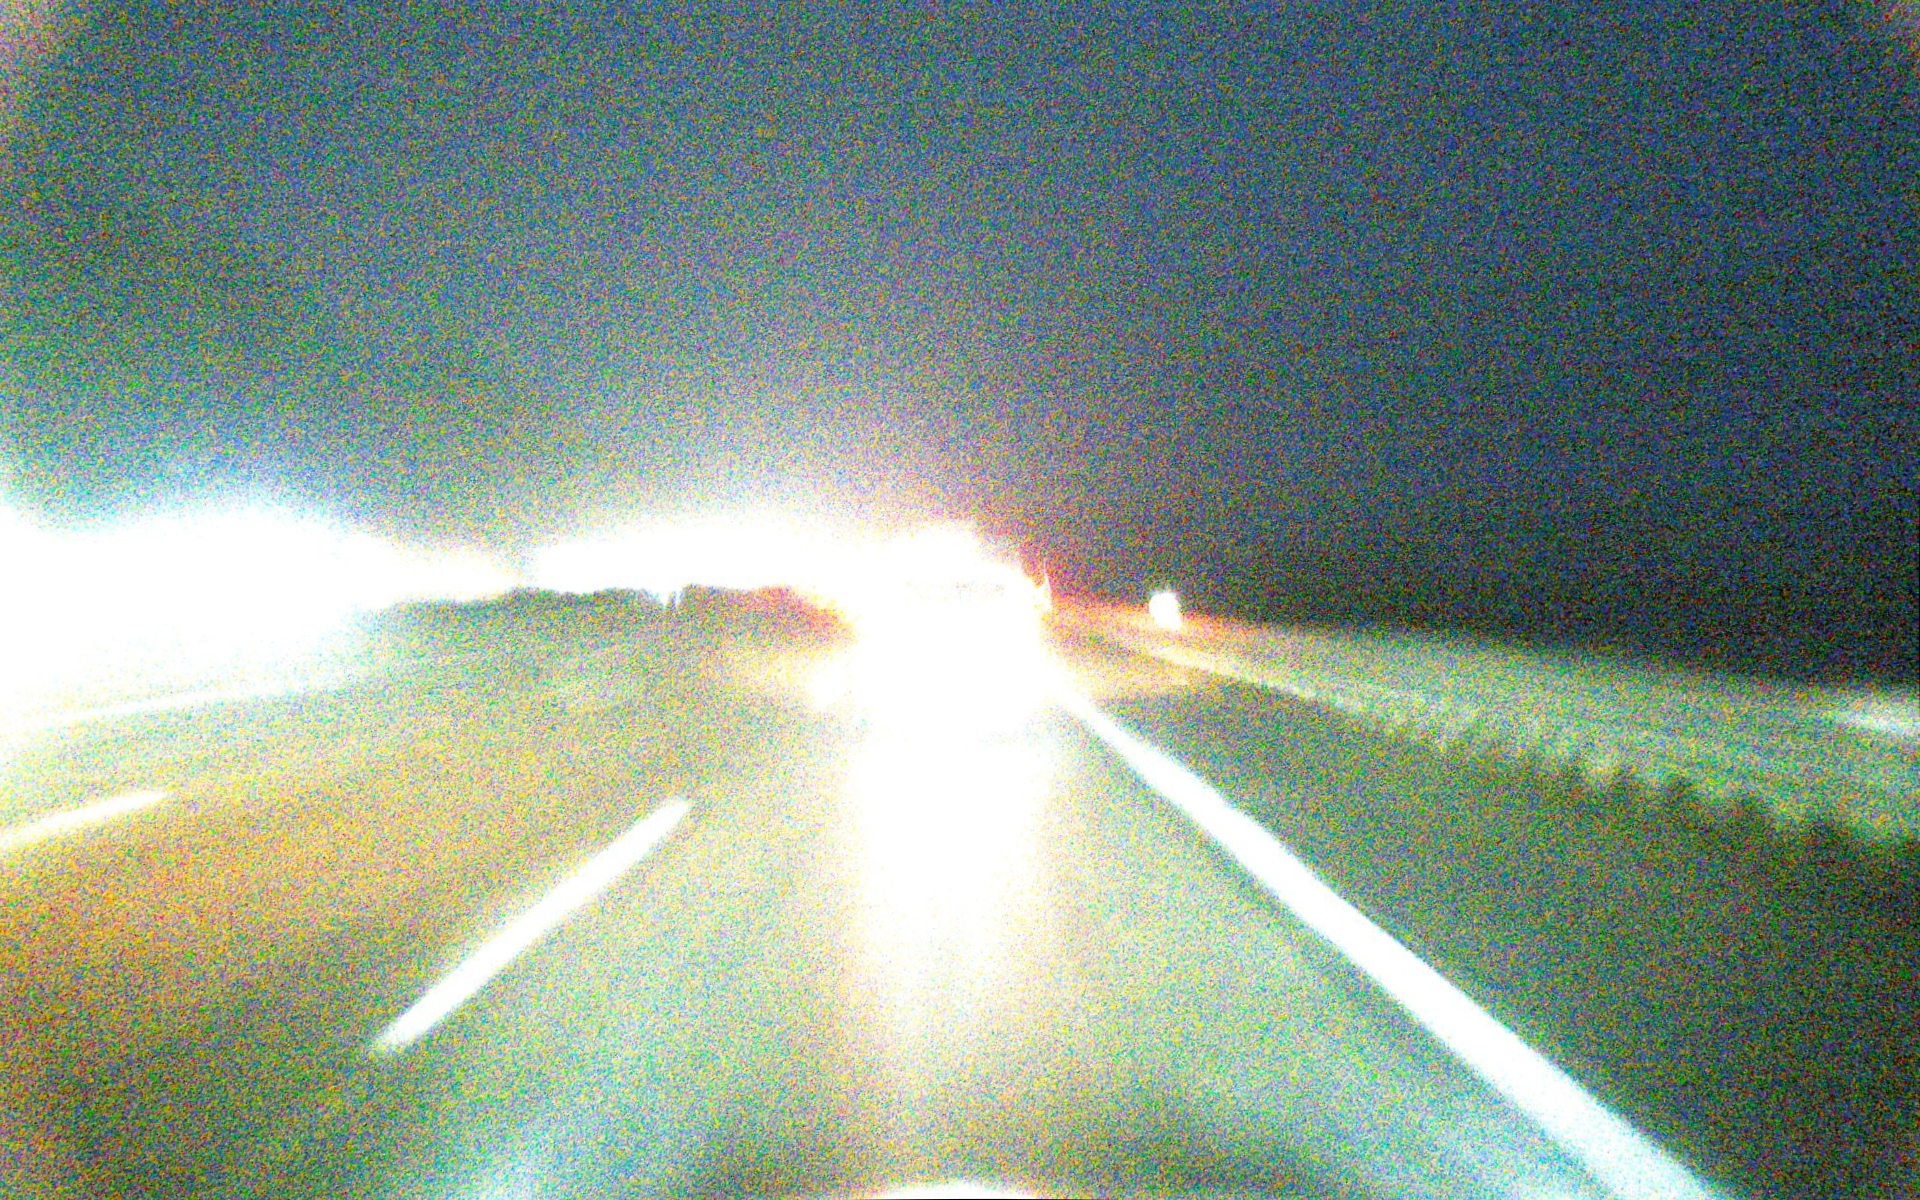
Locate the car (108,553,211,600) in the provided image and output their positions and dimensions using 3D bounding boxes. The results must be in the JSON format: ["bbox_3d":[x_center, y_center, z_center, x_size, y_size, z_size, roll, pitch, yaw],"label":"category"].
[{"bbox_3d":[-28.070,-0.806,58.100,1.673,1.490,3.999,3,0,-1],"label":"car"}]

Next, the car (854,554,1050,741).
[{"bbox_3d":[-0.137,0.478,19.090,1.913,1.823,5.122,1,0,-1],"label":"car"}]

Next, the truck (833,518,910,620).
[{"bbox_3d":[-5.165,-1.751,99.609,4.083,5.641,13.071,1,0,-1],"label":"truck"}]

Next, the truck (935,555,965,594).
[{"bbox_3d":[-1.366,-3.322,220.151,3.746,5.001,11.603,2,0,-1],"label":"truck"}]

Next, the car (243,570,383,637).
[{"bbox_3d":[-15.591,0.072,40.085,1.932,1.490,3.998,2,0,-3],"label":"car"}]
